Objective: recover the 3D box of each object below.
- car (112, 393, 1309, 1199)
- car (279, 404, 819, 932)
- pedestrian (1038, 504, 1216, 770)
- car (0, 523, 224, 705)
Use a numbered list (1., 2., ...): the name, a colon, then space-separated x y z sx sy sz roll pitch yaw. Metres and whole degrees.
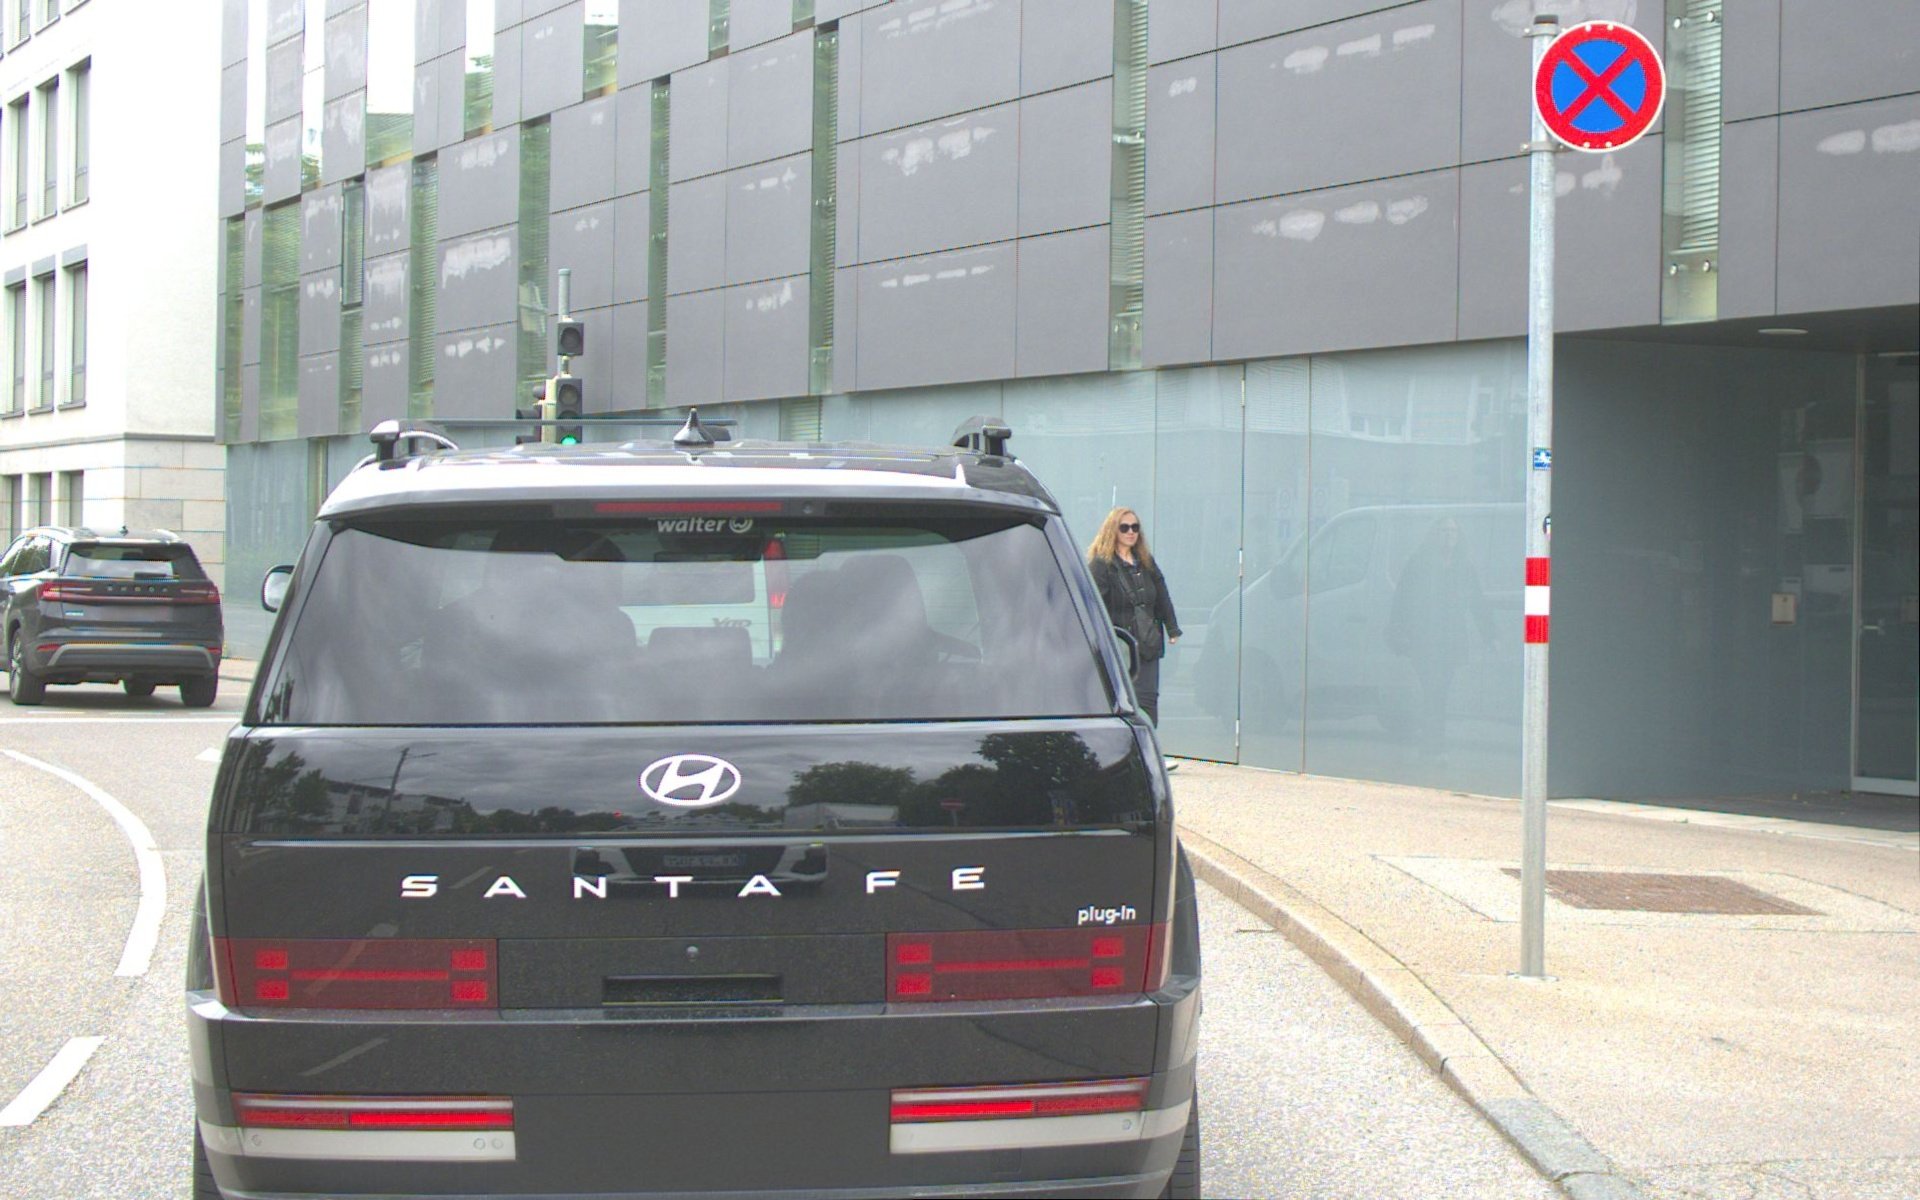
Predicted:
1. car: -0.635 0.510 7.687 1.908 1.743 4.398 0 1 -7
2. car: -1.994 0.227 15.339 1.931 1.987 4.536 1 1 -12
3. pedestrian: 1.087 0.233 22.423 0.711 1.688 0.865 2 0 -39
4. car: -8.270 0.090 32.621 1.759 1.603 4.189 1 1 -23
